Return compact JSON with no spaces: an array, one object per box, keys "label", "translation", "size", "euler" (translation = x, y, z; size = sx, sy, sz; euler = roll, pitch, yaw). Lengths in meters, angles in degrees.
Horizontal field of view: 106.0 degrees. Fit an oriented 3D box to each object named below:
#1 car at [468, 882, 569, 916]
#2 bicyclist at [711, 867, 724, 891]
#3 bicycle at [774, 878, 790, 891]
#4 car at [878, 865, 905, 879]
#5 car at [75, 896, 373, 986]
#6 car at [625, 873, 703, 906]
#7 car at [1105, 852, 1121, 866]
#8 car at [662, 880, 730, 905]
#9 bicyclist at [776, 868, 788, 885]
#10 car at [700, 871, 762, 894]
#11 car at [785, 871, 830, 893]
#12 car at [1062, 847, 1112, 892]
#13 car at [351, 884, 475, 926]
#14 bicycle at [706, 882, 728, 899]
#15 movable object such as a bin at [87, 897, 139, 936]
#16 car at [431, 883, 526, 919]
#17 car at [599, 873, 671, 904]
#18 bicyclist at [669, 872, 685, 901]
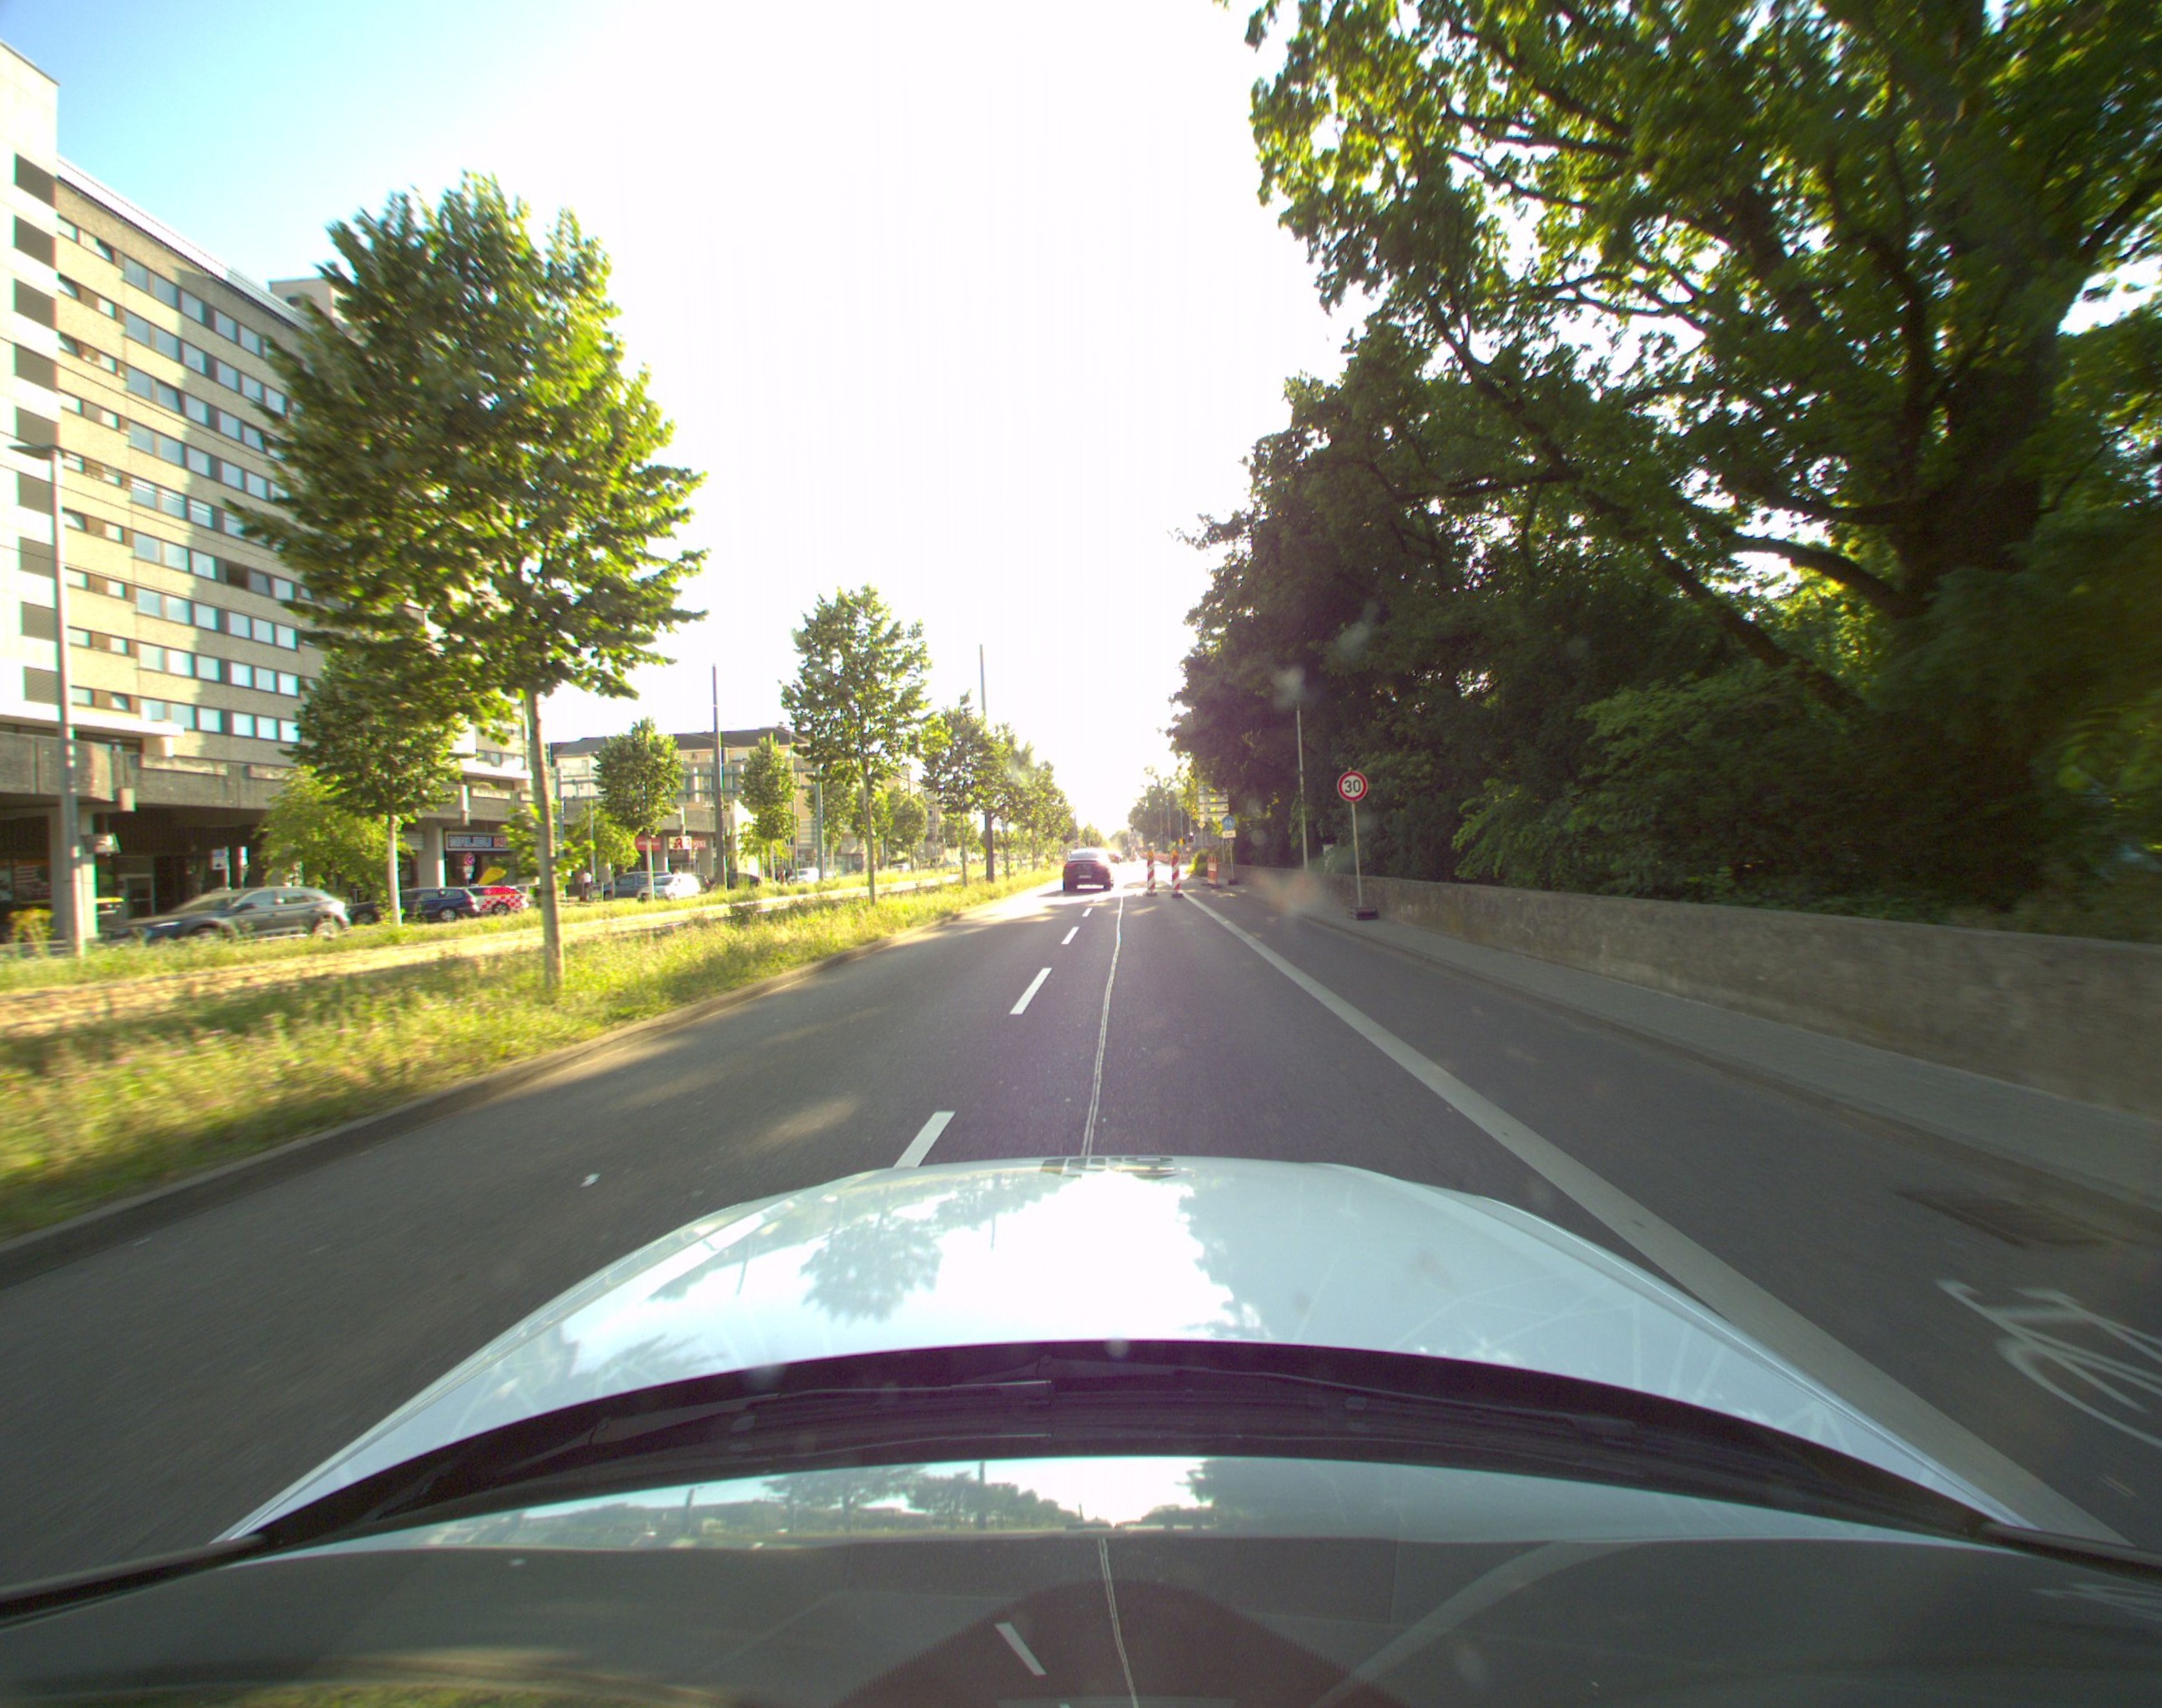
[{"label":"car","translation":[-28.944,2.277,41.999],"size":[1.764,1.453,4.023],"euler":[-1,0,45]},{"label":"bicyclist","translation":[-24.339,1.654,54.534],"size":[0.549,1.544,0.683],"euler":[-1,0,4]},{"label":"bicycle","translation":[-24.327,2.468,66.234],"size":[0.604,0.963,1.717],"euler":[-1,0,1]},{"label":"car","translation":[-20.642,1.966,88.837],"size":[1.926,1.397,3.688],"euler":[-3,0,1]},{"label":"car","translation":[-21.306,2.073,20.674],"size":[1.877,1.689,5.096],"euler":[-2,0,5]},{"label":"car","translation":[-22.376,1.889,43.893],"size":[1.877,1.514,4.006],"euler":[-2,0,5]},{"label":"car","translation":[4.047,0.575,102.220],"size":[1.878,1.580,4.003],"euler":[-2,1,2]},{"label":"car","translation":[-28.065,2.760,59.413],"size":[1.975,1.574,4.024],"euler":[-1,0,45]},{"label":"bicyclist","translation":[-24.330,1.793,66.271],"size":[0.590,1.355,0.760],"euler":[-1,0,0]},{"label":"car","translation":[-27.375,2.201,63.727],"size":[4.020,1.563,1.977],"euler":[-1,0,-39]},{"label":"car","translation":[-21.290,2.160,63.573],"size":[1.877,1.514,4.006],"euler":[-2,0,5]},{"label":"car","translation":[0.254,0.612,34.791],"size":[1.987,1.734,3.999],"euler":[-2,0,0]},{"label":"car","translation":[-29.090,2.196,35.636],"size":[4.115,1.601,1.730],"euler":[0,0,-38]},{"label":"bicycle","translation":[-24.328,2.411,54.424],"size":[0.552,1.040,1.793],"euler":[-1,0,4]},{"label":"movable object such as a bin","translation":[-35.888,2.305,30.204],"size":[0.818,1.371,0.869],"euler":[-3,0,3]},{"label":"car","translation":[-28.895,2.211,39.124],"size":[3.643,1.523,1.602],"euler":[0,-1,-38]},{"label":"car","translation":[-28.542,2.167,52.158],"size":[3.776,1.829,1.804],"euler":[-1,0,-37]},{"label":"bicyclist","translation":[-25.275,2.044,50.940],"size":[0.538,1.788,0.858],"euler":[-1,0,0]}]
